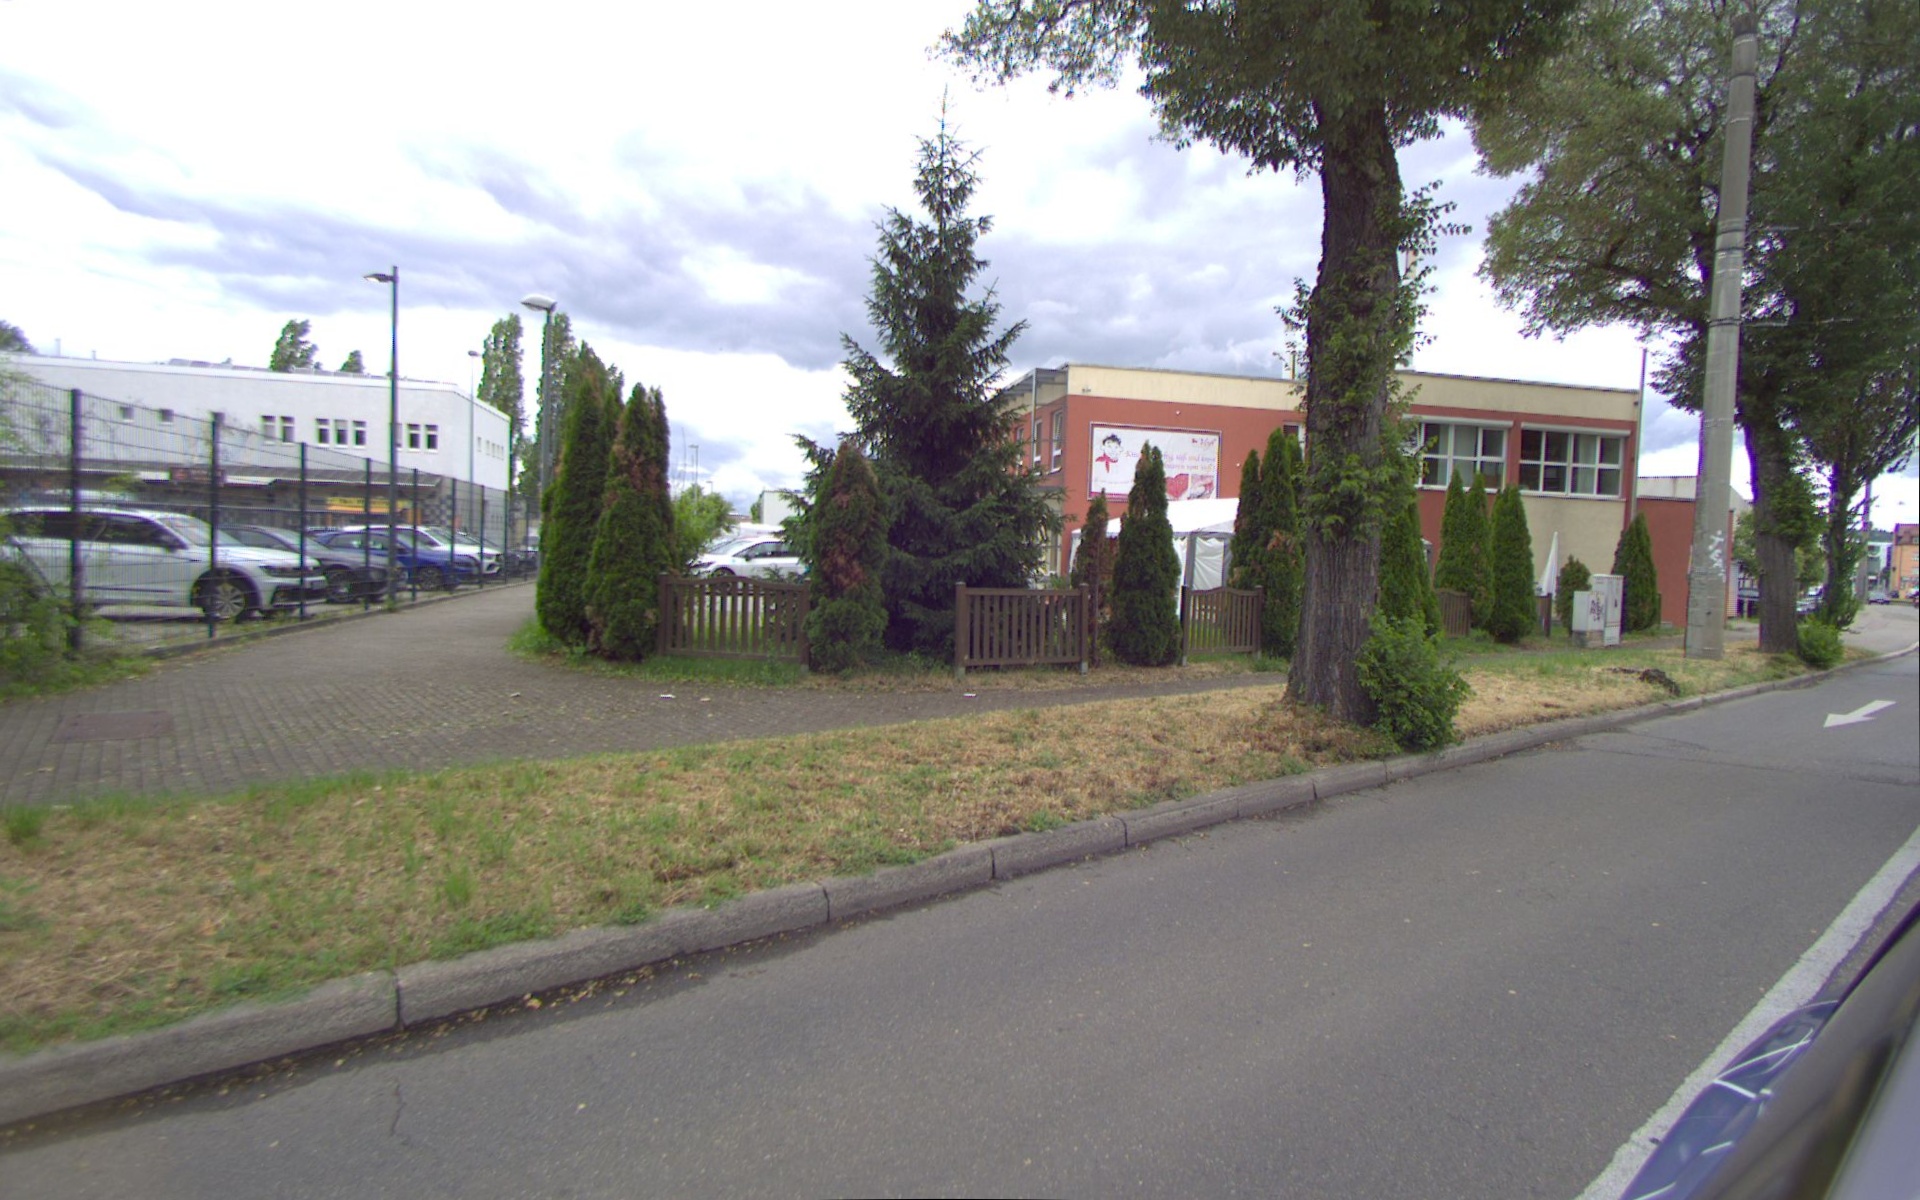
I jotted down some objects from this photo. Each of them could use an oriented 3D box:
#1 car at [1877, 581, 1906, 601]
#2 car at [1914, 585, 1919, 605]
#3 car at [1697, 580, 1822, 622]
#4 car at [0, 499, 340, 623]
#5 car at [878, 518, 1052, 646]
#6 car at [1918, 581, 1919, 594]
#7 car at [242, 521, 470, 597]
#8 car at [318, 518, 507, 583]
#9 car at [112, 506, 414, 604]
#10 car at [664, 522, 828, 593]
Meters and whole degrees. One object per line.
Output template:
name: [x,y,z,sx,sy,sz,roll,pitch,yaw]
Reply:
car: [97.822,-0.932,106.283,1.903,1.737,4.071,10,9,44]
car: [88.353,-0.446,92.346,1.864,1.772,3.937,0,1,44]
car: [33.686,0.008,42.701,3.986,1.666,1.866,0,1,44]
car: [-12.201,-0.593,15.313,4.407,1.685,2.005,1,3,-13]
car: [-0.047,-0.325,18.351,1.958,2.039,4.008,0,1,-19]
car: [157.091,-2.049,164.484,1.992,2.039,3.940,0,1,42]
car: [-14.722,-0.998,24.941,4.407,1.685,2.005,1,3,-13]
car: [-15.650,-1.412,29.179,4.407,1.685,2.005,1,3,-13]
car: [-13.296,-0.861,19.625,4.407,1.685,2.005,1,3,-13]
car: [-5.721,-1.090,27.310,3.930,1.772,1.853,-1,1,-41]
